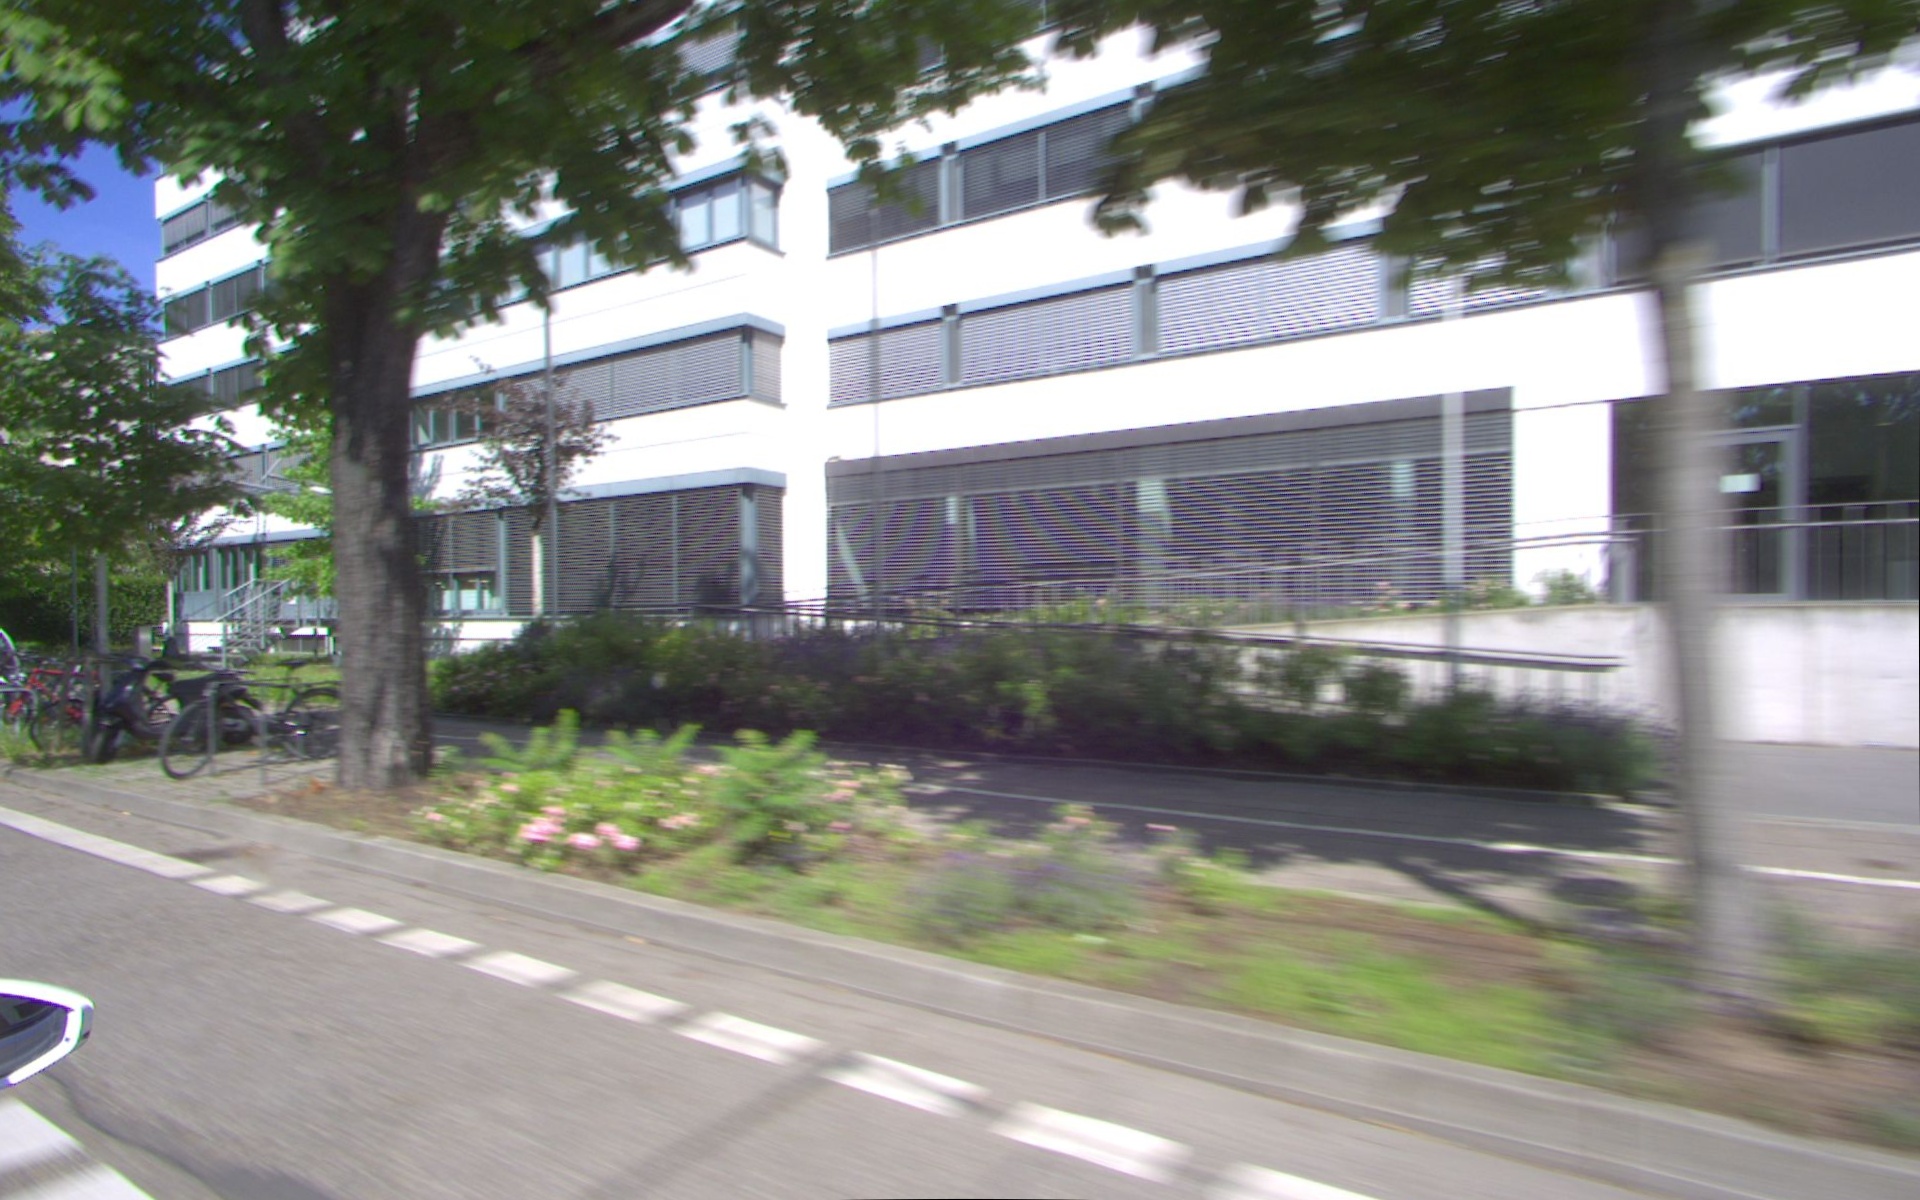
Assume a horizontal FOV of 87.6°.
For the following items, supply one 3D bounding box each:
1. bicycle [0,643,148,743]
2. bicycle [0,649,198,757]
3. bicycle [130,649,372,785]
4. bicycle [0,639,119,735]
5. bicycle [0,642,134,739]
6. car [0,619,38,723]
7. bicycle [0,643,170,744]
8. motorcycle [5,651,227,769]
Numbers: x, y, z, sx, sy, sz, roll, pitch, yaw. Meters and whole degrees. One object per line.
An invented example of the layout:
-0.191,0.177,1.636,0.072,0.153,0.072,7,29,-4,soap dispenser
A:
-11.456,1.142,12.575,0.670,1.147,1.845,0,0,31,bicycle
-10.153,1.171,11.833,0.630,1.100,1.721,0,0,31,bicycle
-6.707,1.055,9.565,0.778,1.100,1.721,0,0,31,bicycle
-12.462,1.133,13.234,0.807,1.185,1.900,0,0,31,bicycle
-11.926,1.146,12.890,0.676,1.156,1.869,0,0,31,bicycle
-15.561,1.053,15.099,3.580,1.491,1.626,-1,-1,33,car
-10.910,1.109,12.270,0.716,1.100,1.789,0,0,31,bicycle
-9.113,1.143,10.885,0.649,1.100,1.721,0,0,31,motorcycle
